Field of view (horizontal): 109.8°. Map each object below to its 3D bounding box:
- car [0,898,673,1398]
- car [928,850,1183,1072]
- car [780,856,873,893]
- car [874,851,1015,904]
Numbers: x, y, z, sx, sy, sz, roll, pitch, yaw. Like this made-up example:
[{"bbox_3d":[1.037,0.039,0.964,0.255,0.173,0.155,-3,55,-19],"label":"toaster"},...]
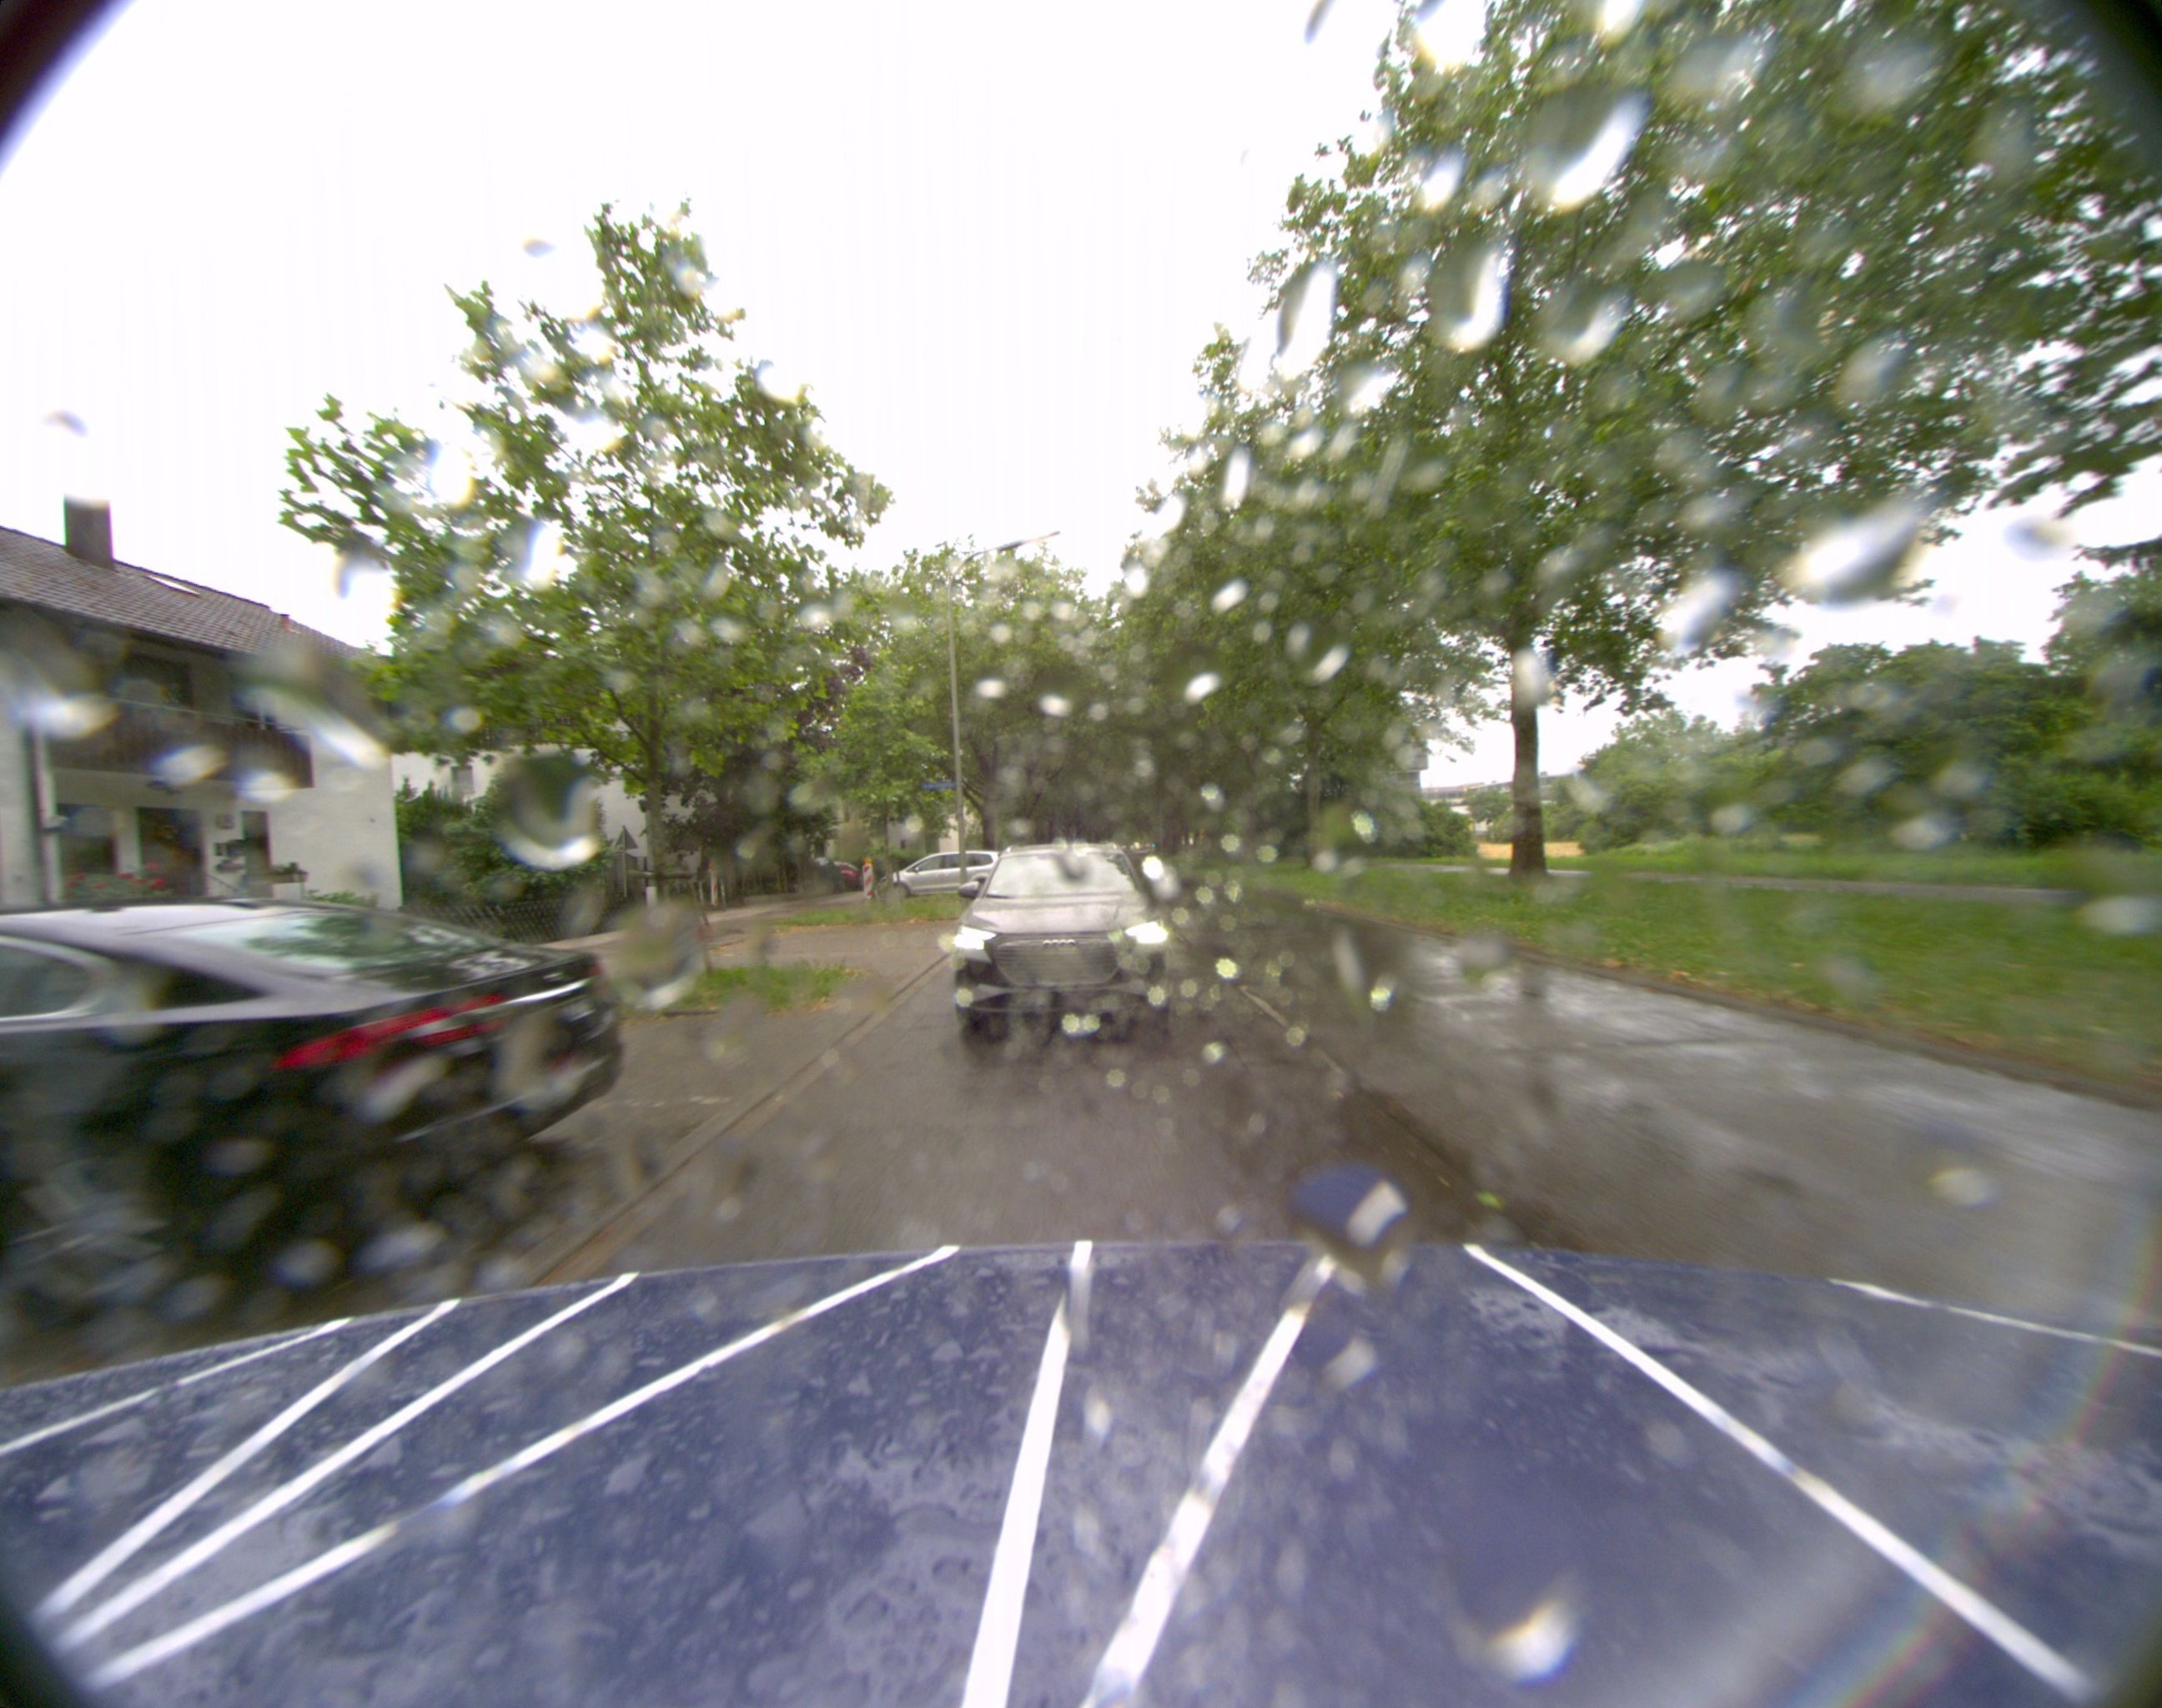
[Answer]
[{"bbox_3d":[-4.766,1.085,3.358,4.779,1.464,1.937,-2,1,-4],"label":"car"},{"bbox_3d":[-0.155,0.802,7.960,1.862,1.608,4.423,-2,0,1],"label":"car"},{"bbox_3d":[-12.519,0.971,37.496,3.853,1.603,1.843,-2,1,2],"label":"car"},{"bbox_3d":[-4.844,0.807,27.567,4.701,1.651,1.976,-2,1,-1],"label":"car"}]
